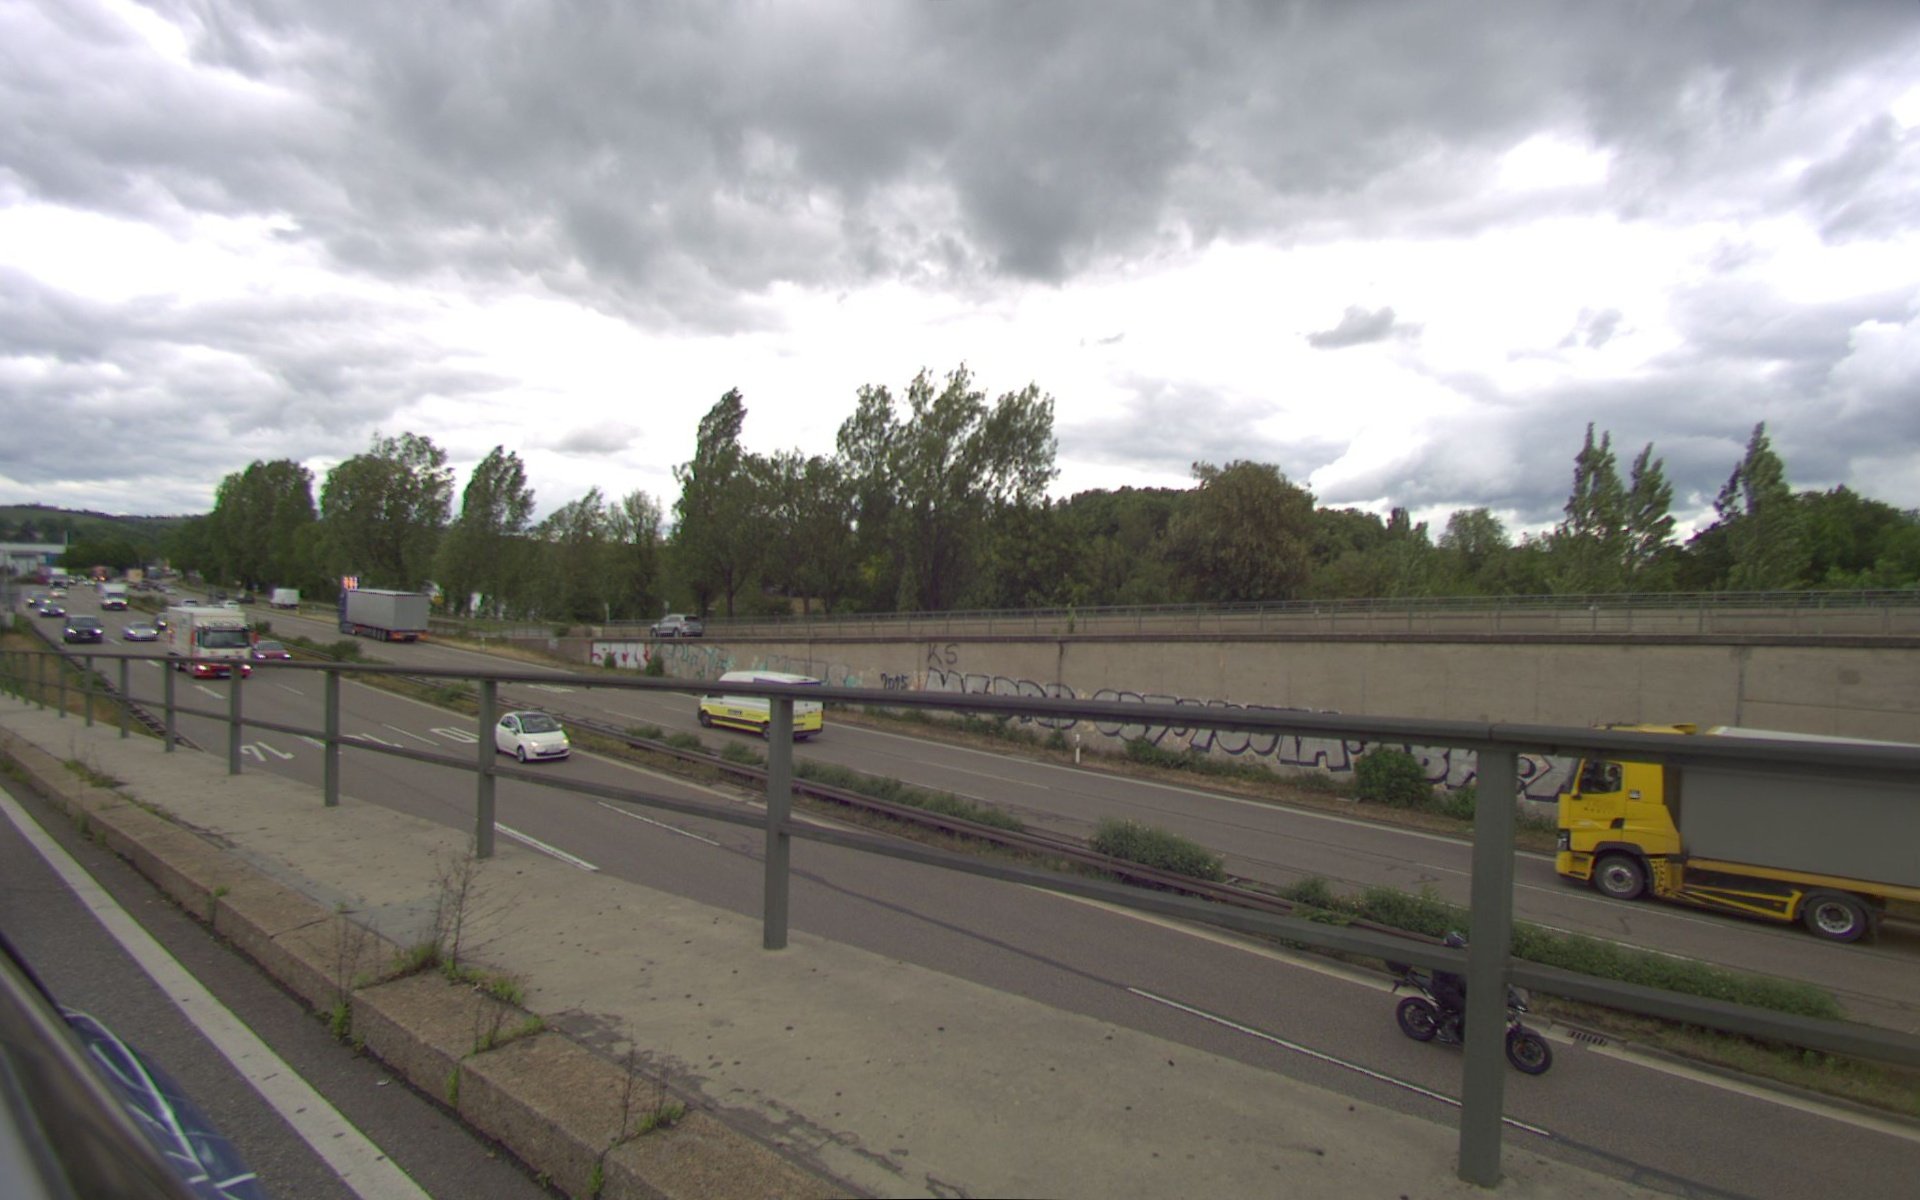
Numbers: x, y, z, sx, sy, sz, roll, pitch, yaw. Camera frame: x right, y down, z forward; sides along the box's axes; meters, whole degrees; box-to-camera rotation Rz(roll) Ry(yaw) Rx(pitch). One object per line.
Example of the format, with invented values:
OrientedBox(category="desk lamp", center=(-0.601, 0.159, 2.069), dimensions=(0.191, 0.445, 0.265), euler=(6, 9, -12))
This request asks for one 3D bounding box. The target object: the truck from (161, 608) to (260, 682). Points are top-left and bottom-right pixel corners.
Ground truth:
OrientedBox(category="truck", center=(-42.203, 2.410, 56.797), dimensions=(9.877, 3.552, 2.849), euler=(2, -1, 45))

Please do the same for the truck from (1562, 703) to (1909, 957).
OrientedBox(category="truck", center=(17.257, 4.780, 22.792), dimensions=(5.802, 4.213, 3.206), euler=(2, 0, 42))

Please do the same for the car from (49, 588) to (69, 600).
OrientedBox(category="car", center=(-131.606, -0.912, 147.814), dimensions=(3.335, 1.539, 1.746), euler=(2, 0, 41))

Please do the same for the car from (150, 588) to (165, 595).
OrientedBox(category="car", center=(-162.243, -1.712, 204.624), dimensions=(4.002, 1.431, 1.971), euler=(2, 1, 44))

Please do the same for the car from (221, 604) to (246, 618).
OrientedBox(category="car", center=(-85.324, 1.267, 118.824), dimensions=(4.002, 1.431, 1.660), euler=(3, 0, 44))

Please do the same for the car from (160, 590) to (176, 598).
OrientedBox(category="car", center=(-148.875, -1.089, 190.201), dimensions=(4.002, 1.431, 1.971), euler=(2, 1, 44))

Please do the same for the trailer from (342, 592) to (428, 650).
OrientedBox(category="trailer", center=(-49.299, 1.625, 86.436), dimensions=(13.772, 4.170, 2.755), euler=(3, 1, 45))

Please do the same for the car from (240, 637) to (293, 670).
OrientedBox(category="car", center=(-42.578, 3.267, 62.094), dimensions=(4.183, 1.590, 1.810), euler=(4, 3, 43))

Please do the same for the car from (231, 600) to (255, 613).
OrientedBox(category="car", center=(-107.580, 0.961, 151.894), dimensions=(4.562, 1.831, 1.861), euler=(2, -3, 42))

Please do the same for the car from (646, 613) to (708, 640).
OrientedBox(category="car", center=(-18.691, 1.735, 66.766), dimensions=(4.377, 1.664, 1.873), euler=(-1, 0, 43))

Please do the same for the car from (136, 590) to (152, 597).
OrientedBox(category="car", center=(-167.124, -1.298, 207.276), dimensions=(4.002, 1.431, 1.971), euler=(2, 1, 44))

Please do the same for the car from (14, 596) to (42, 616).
OrientedBox(category="car", center=(-106.279, 0.661, 115.419), dimensions=(4.001, 2.029, 1.971), euler=(2, -1, 43))

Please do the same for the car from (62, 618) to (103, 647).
OrientedBox(category="car", center=(-62.405, 2.303, 71.976), dimensions=(1.970, 1.853, 4.429), euler=(2, 0, -43))

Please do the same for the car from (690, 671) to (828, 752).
OrientedBox(category="car", center=(-8.547, 4.558, 42.444), dimensions=(6.713, 2.648, 1.972), euler=(2, -1, 42))

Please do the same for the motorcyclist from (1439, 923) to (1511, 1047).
OrientedBox(category="motorcyclist", center=(7.252, 5.394, 14.253), dimensions=(0.762, 1.382, 0.587), euler=(2, 1, 42))

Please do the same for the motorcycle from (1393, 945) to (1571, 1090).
OrientedBox(category="motorcycle", center=(7.290, 5.796, 14.219), dimensions=(2.126, 1.212, 0.587), euler=(2, 1, 43))

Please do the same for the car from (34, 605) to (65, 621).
OrientedBox(category="car", center=(-89.093, 1.266, 99.012), dimensions=(4.126, 1.461, 1.804), euler=(2, 0, 41))

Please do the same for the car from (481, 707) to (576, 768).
OrientedBox(category="car", center=(-14.965, 4.710, 35.043), dimensions=(3.608, 1.544, 1.674), euler=(2, 1, 43))

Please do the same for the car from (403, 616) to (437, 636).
OrientedBox(category="car", center=(-58.621, 2.801, 109.783), dimensions=(1.970, 1.914, 4.587), euler=(6, -3, -44))

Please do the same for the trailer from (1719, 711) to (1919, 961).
OrientedBox(category="trailer", center=(22.388, 4.952, 18.212), dimensions=(13.677, 4.294, 3.206), euler=(2, 0, 42))

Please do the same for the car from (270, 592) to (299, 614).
OrientedBox(category="car", center=(-92.632, 0.419, 138.702), dimensions=(5.180, 2.669, 1.972), euler=(2, -3, 42))

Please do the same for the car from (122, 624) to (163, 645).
OrientedBox(category="car", center=(-61.461, 2.589, 76.056), dimensions=(4.153, 1.311, 1.766), euler=(3, 0, 42))

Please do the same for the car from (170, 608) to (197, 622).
OrientedBox(category="car", center=(-91.913, 1.745, 119.795), dimensions=(4.002, 1.431, 1.971), euler=(2, -3, 45))

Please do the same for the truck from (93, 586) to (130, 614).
OrientedBox(category="truck", center=(-98.164, -0.038, 117.077), dimensions=(7.229, 3.031, 2.210), euler=(2, 1, 41))

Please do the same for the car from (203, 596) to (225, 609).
OrientedBox(category="car", center=(-122.319, 0.384, 165.900), dimensions=(4.562, 1.831, 1.861), euler=(2, -3, 42))

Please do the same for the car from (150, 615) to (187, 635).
OrientedBox(category="car", center=(-68.700, 2.108, 87.806), dimensions=(4.425, 1.476, 1.838), euler=(2, 2, 43))

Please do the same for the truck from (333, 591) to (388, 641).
OrientedBox(category="truck", center=(-54.056, 1.374, 91.194), dimensions=(5.939, 4.170, 2.755), euler=(3, 1, 45))
